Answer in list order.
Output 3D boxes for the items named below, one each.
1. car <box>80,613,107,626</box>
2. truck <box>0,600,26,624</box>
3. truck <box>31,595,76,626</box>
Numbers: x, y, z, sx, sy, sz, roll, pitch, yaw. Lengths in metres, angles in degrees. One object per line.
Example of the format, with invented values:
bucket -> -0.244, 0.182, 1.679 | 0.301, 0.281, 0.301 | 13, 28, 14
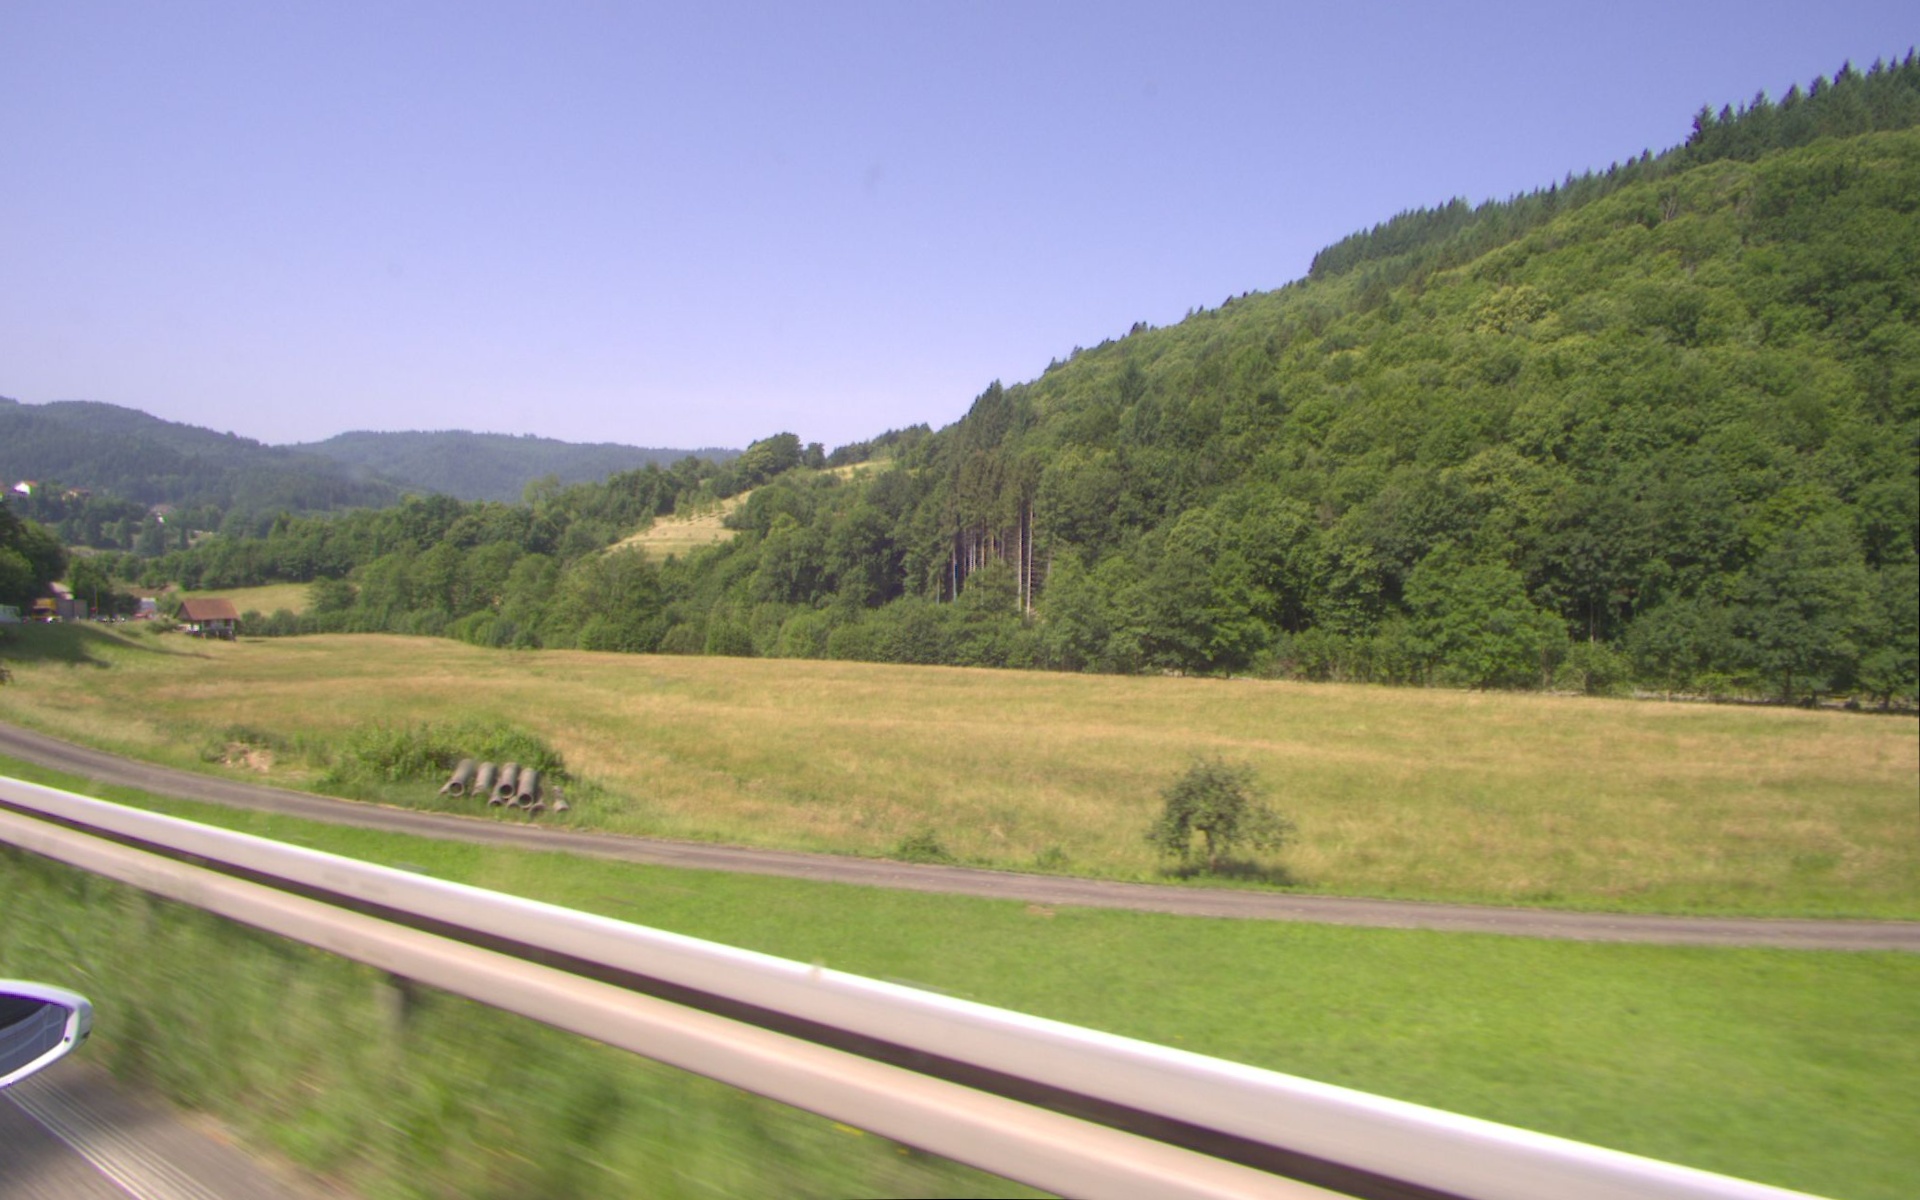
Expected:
car -> -132.092, 2.950, 152.640 | 1.969, 1.950, 3.985 | 3, -2, -25
truck -> -117.591, 1.470, 123.291 | 2.212, 2.839, 6.205 | 2, -3, -28
truck -> -135.953, 1.573, 150.292 | 3.151, 4.453, 6.543 | 3, -1, -26
